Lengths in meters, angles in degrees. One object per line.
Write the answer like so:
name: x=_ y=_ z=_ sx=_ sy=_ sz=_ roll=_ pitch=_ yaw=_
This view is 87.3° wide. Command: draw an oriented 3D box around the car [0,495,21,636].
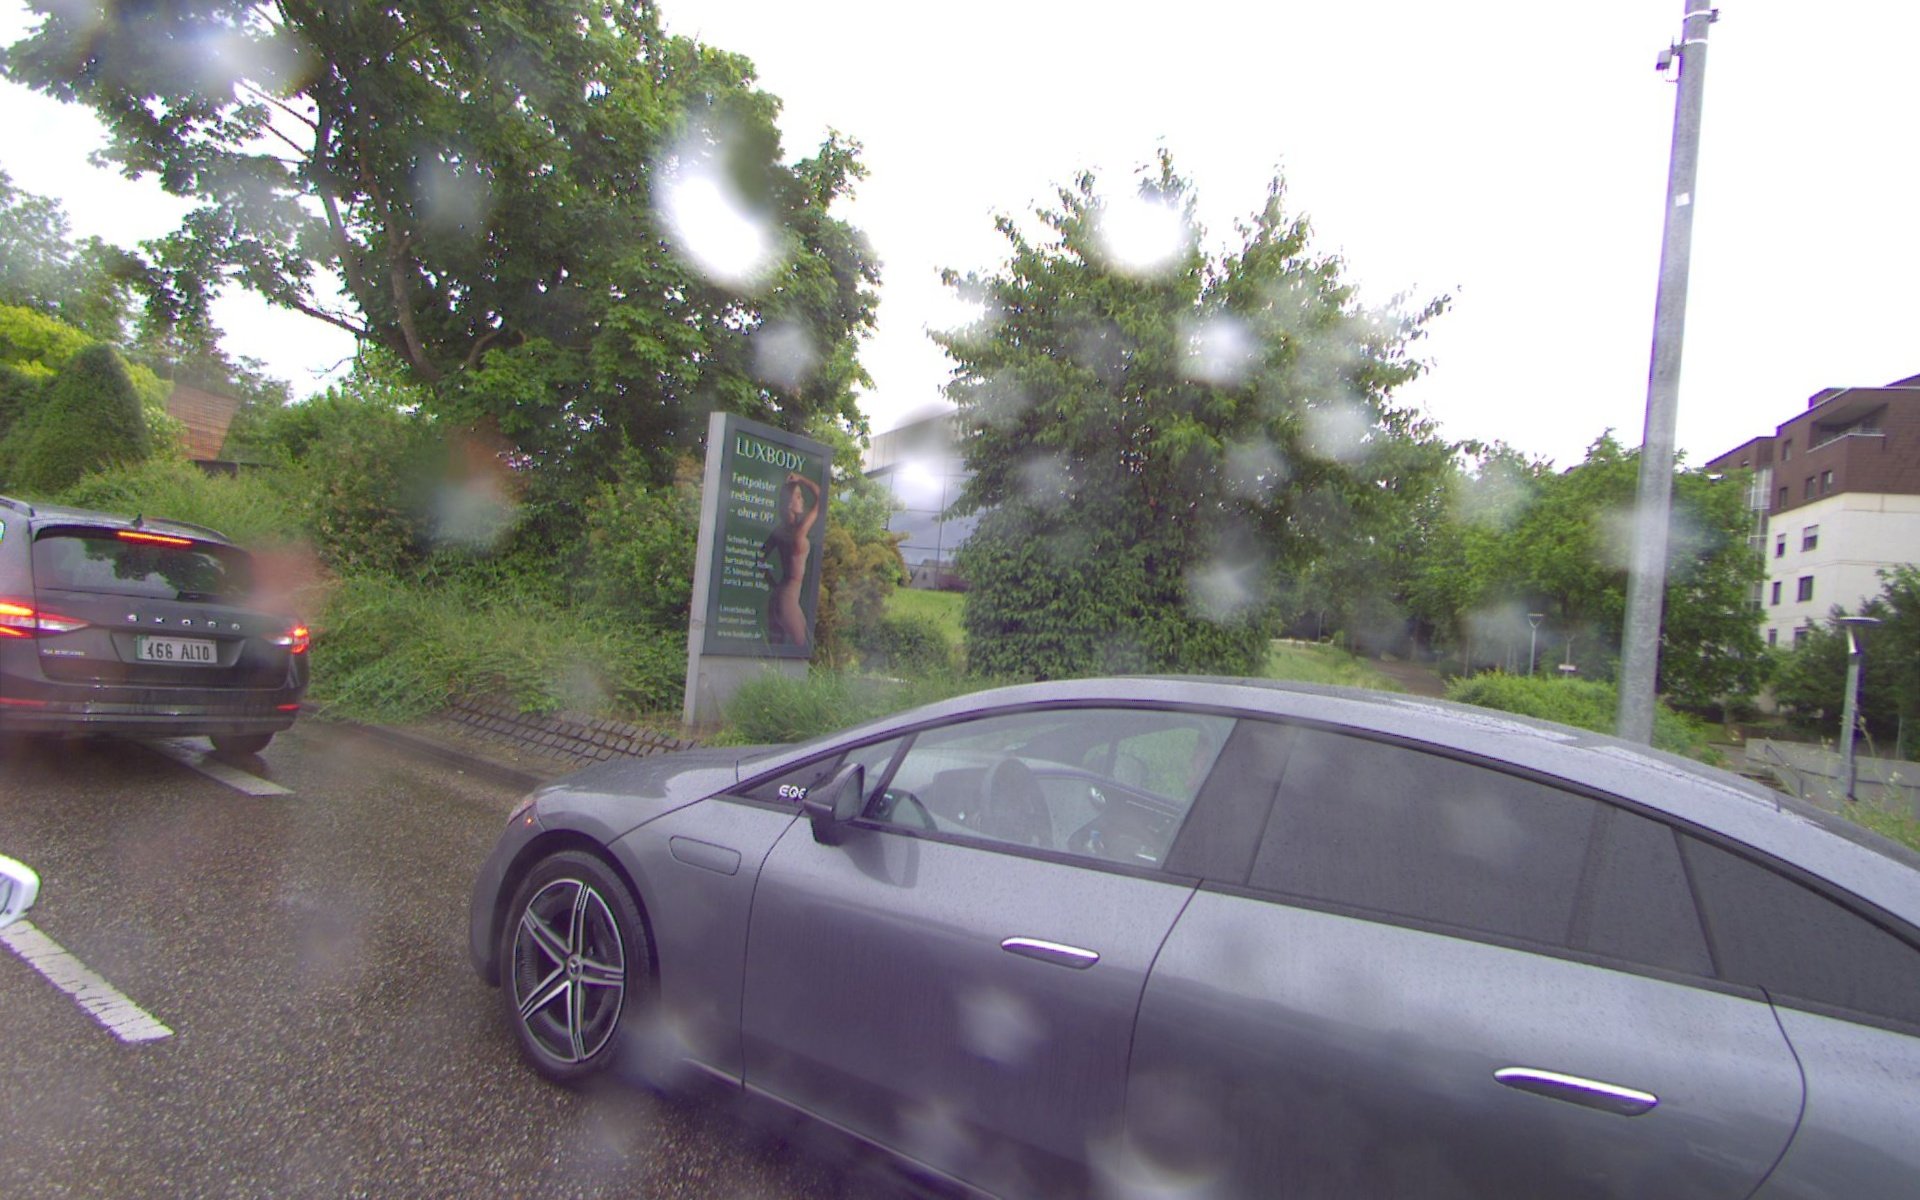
car: x=-12.190 y=-0.661 z=10.868 sx=4.048 sy=1.483 sz=1.842 roll=7 pitch=-2 yaw=31

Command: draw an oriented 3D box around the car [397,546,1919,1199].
car: x=0.694 y=0.906 z=2.919 sx=4.728 sy=1.483 sz=1.842 roll=7 pitch=-2 yaw=31

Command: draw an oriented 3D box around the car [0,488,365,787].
car: x=-6.139 y=0.059 z=6.784 sx=4.279 sy=1.483 sz=1.841 roll=7 pitch=-2 yaw=33
